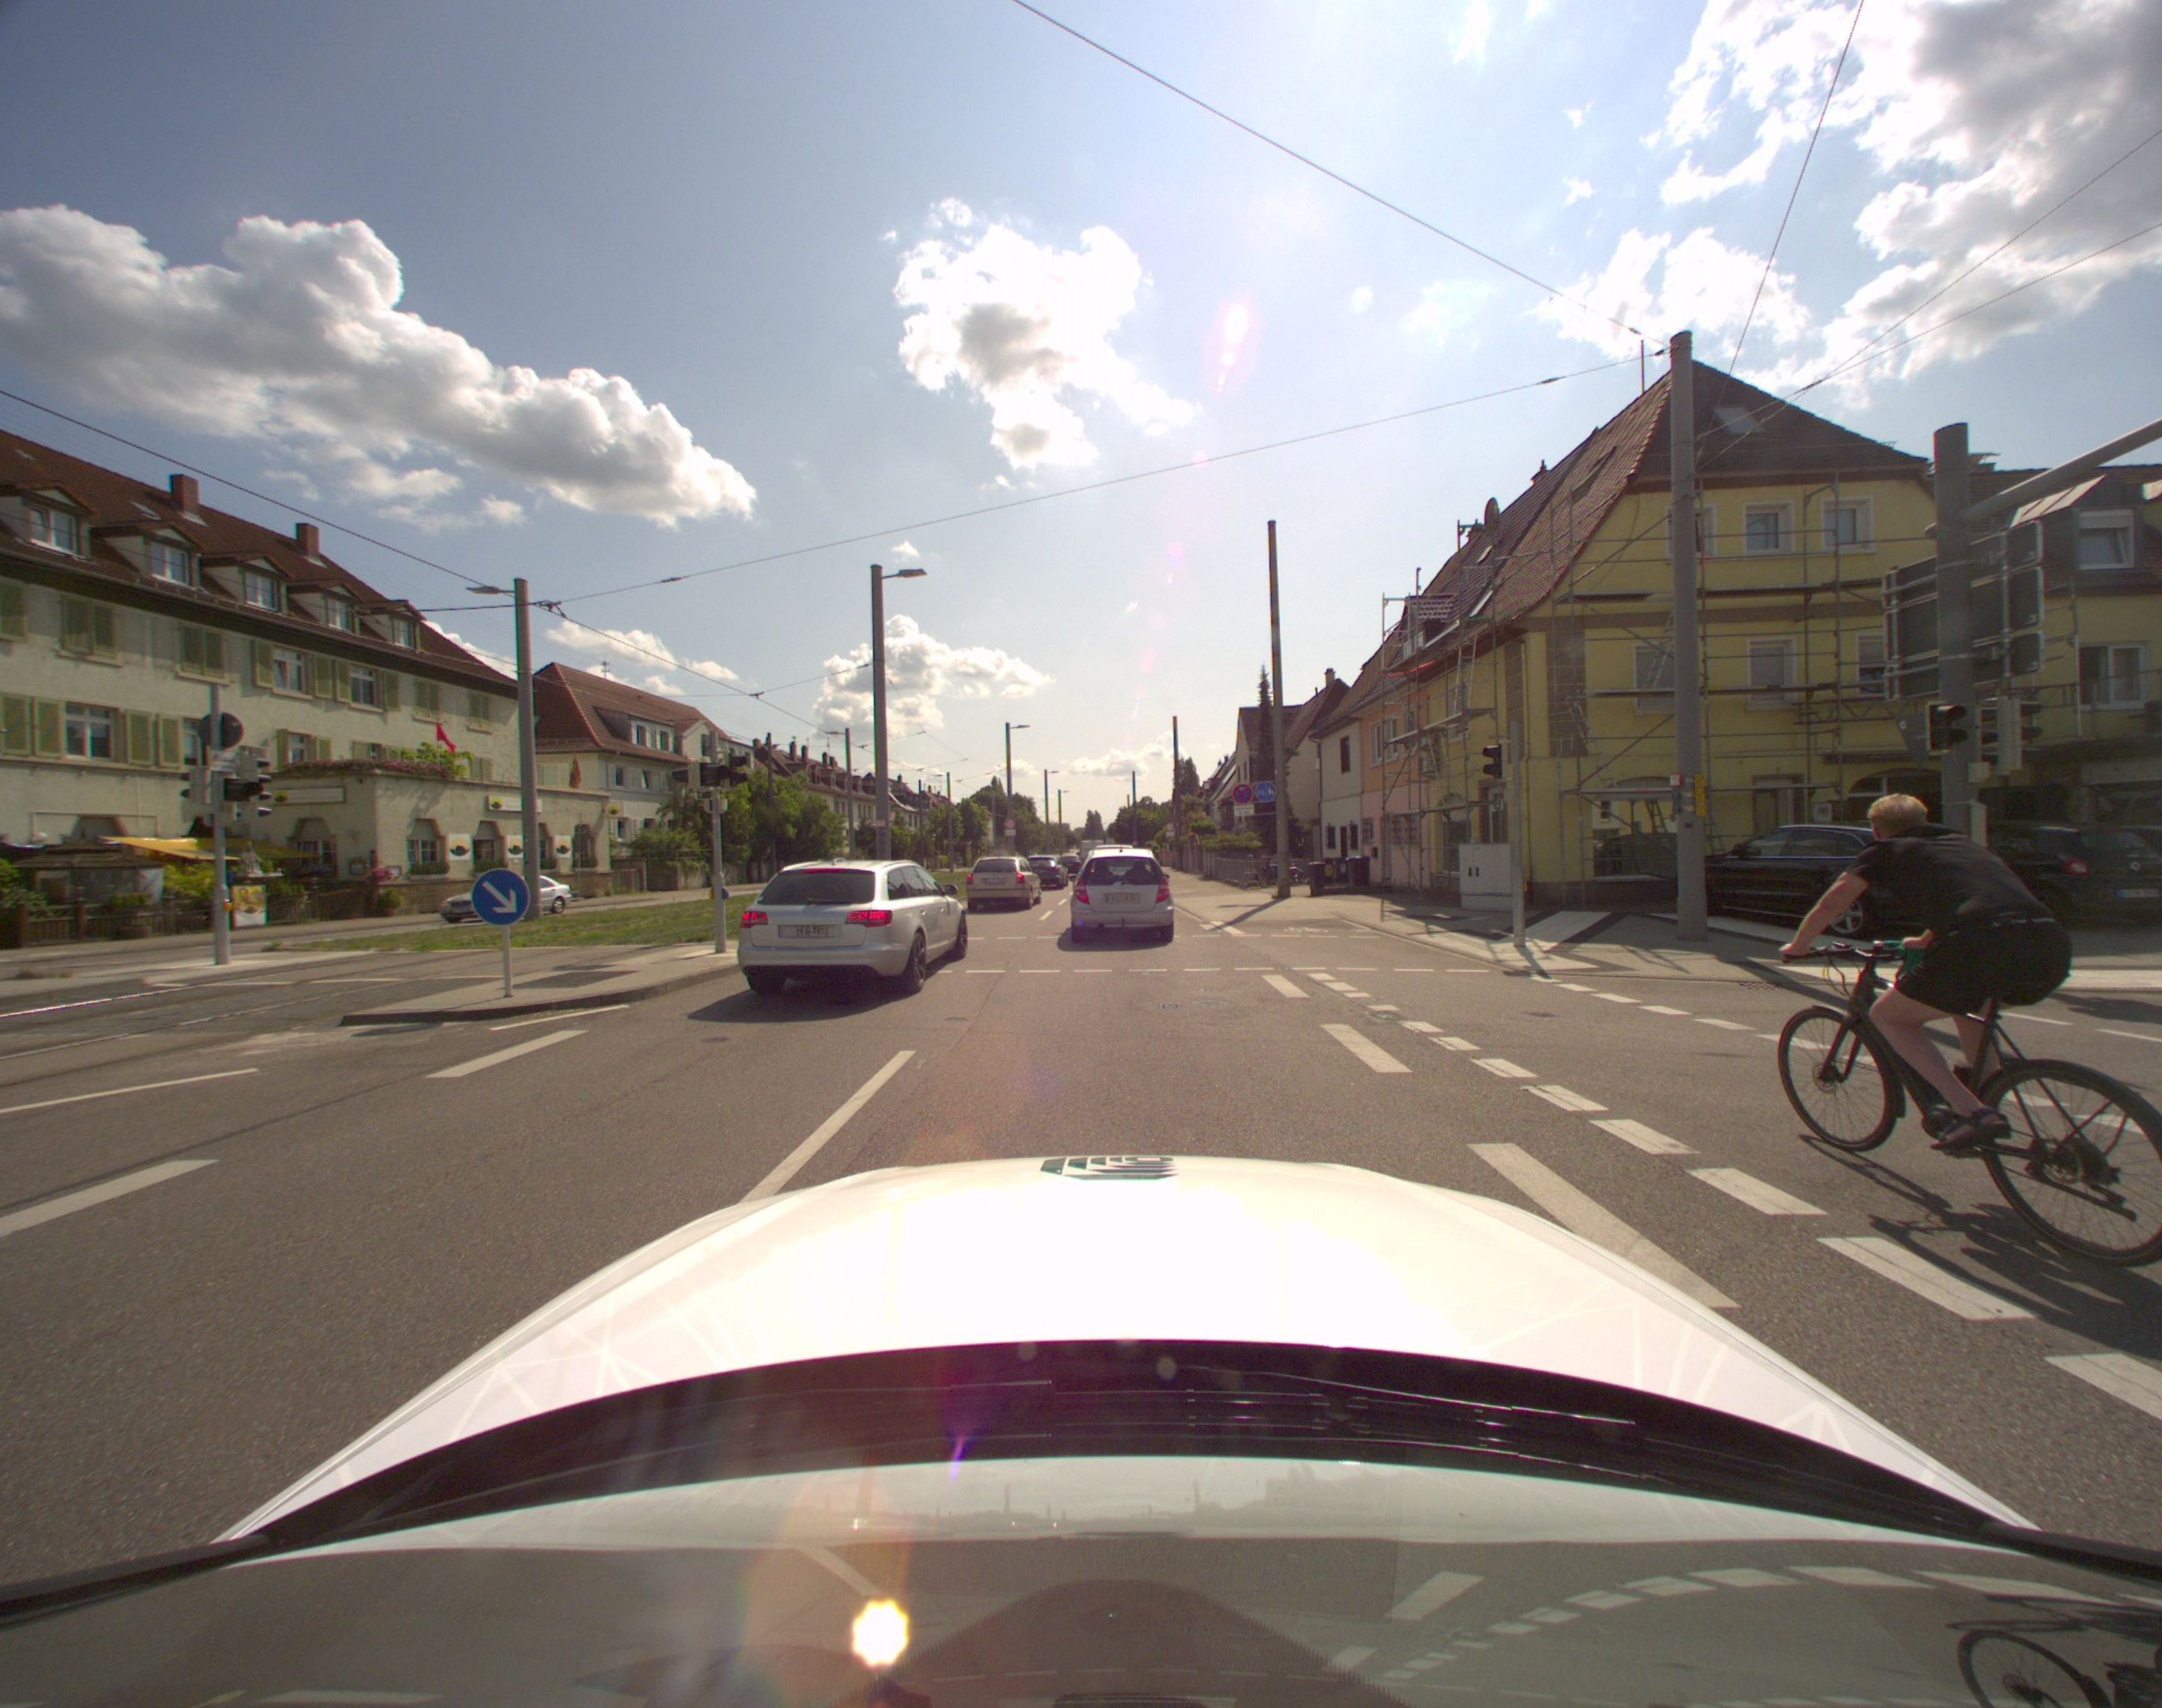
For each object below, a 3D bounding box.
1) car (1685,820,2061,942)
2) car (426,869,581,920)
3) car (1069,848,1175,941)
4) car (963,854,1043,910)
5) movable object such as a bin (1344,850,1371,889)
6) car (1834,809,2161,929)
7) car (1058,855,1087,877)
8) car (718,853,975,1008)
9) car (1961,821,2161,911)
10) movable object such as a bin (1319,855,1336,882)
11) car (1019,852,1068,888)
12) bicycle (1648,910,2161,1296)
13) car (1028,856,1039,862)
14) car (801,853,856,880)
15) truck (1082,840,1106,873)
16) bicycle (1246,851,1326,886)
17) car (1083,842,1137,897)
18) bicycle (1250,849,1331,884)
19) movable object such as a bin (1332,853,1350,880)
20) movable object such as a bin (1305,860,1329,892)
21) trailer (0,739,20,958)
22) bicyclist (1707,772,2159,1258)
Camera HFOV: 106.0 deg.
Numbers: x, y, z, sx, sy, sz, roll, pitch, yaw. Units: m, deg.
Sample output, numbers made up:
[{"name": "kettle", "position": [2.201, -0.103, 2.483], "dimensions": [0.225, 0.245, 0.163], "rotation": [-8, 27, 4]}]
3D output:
[{"name": "car", "position": [11.948, 0.352, 12.779], "dimensions": [1.986, 1.596, 4.133], "rotation": [0, 0, 2]}, {"name": "car", "position": [-19.083, 1.286, 27.205], "dimensions": [1.787, 1.387, 4.475], "rotation": [-3, 0, 3]}, {"name": "car", "position": [0.699, 0.655, 15.364], "dimensions": [1.724, 1.517, 4.017], "rotation": [0, 0, 1]}, {"name": "car", "position": [-2.118, 0.735, 23.245], "dimensions": [1.724, 1.449, 4.125], "rotation": [0, 0, 2]}, {"name": "movable object such as a bin", "position": [8.069, 0.439, 23.760], "dimensions": [0.509, 1.105, 0.856], "rotation": [-1, 0, 3]}, {"name": "car", "position": [14.768, 0.195, 12.891], "dimensions": [1.986, 1.596, 4.133], "rotation": [0, 0, 2]}, {"name": "car", "position": [-0.509, 0.763, 54.417], "dimensions": [1.846, 1.388, 4.514], "rotation": [0, 0, 0]}, {"name": "car", "position": [-2.635, 0.753, 10.432], "dimensions": [1.788, 1.472, 4.723], "rotation": [-1, 1, 1]}, {"name": "car", "position": [17.212, 0.169, 13.054], "dimensions": [1.860, 1.351, 4.133], "rotation": [0, 0, 2]}, {"name": "movable object such as a bin", "position": [8.909, 0.509, 29.445], "dimensions": [0.466, 0.946, 0.558], "rotation": [-2, 0, 2]}, {"name": "car", "position": [-1.580, 0.678, 36.251], "dimensions": [1.910, 1.477, 4.562], "rotation": [0, 0, 1]}, {"name": "bicycle", "position": [3.629, 0.900, 3.683], "dimensions": [0.824, 1.075, 1.973], "rotation": [-3, 1, 4]}, {"name": "car", "position": [-10.882, 1.120, 187.576], "dimensions": [1.908, 1.477, 4.567], "rotation": [0, 0, 4]}, {"name": "car", "position": [-17.443, 0.813, 56.598], "dimensions": [2.006, 1.711, 4.940], "rotation": [-3, 0, 3]}, {"name": "truck", "position": [1.024, 0.194, 65.642], "dimensions": [1.846, 2.552, 5.855], "rotation": [0, 0, 0]}, {"name": "bicycle", "position": [7.501, 0.530, 29.864], "dimensions": [2.716, 1.119, 0.691], "rotation": [-3, 0, 1]}, {"name": "car", "position": [1.001, 0.508, 28.142], "dimensions": [1.723, 1.762, 4.019], "rotation": [0, 0, 2]}, {"name": "bicycle", "position": [7.478, 0.424, 29.110], "dimensions": [2.652, 1.105, 0.786], "rotation": [-3, 0, 1]}, {"name": "movable object such as a bin", "position": [9.396, 0.441, 29.419], "dimensions": [0.466, 0.946, 0.558], "rotation": [-2, 0, 2]}, {"name": "movable object such as a bin", "position": [6.863, 0.630, 23.686], "dimensions": [0.509, 0.918, 0.742], "rotation": [-1, 0, 2]}, {"name": "trailer", "position": [-20.574, 0.133, 7.973], "dimensions": [2.587, 3.820, 12.853], "rotation": [-4, 1, 4]}, {"name": "bicyclist", "position": [3.605, 0.604, 3.593], "dimensions": [0.824, 1.793, 1.085], "rotation": [-3, 1, 5]}]
